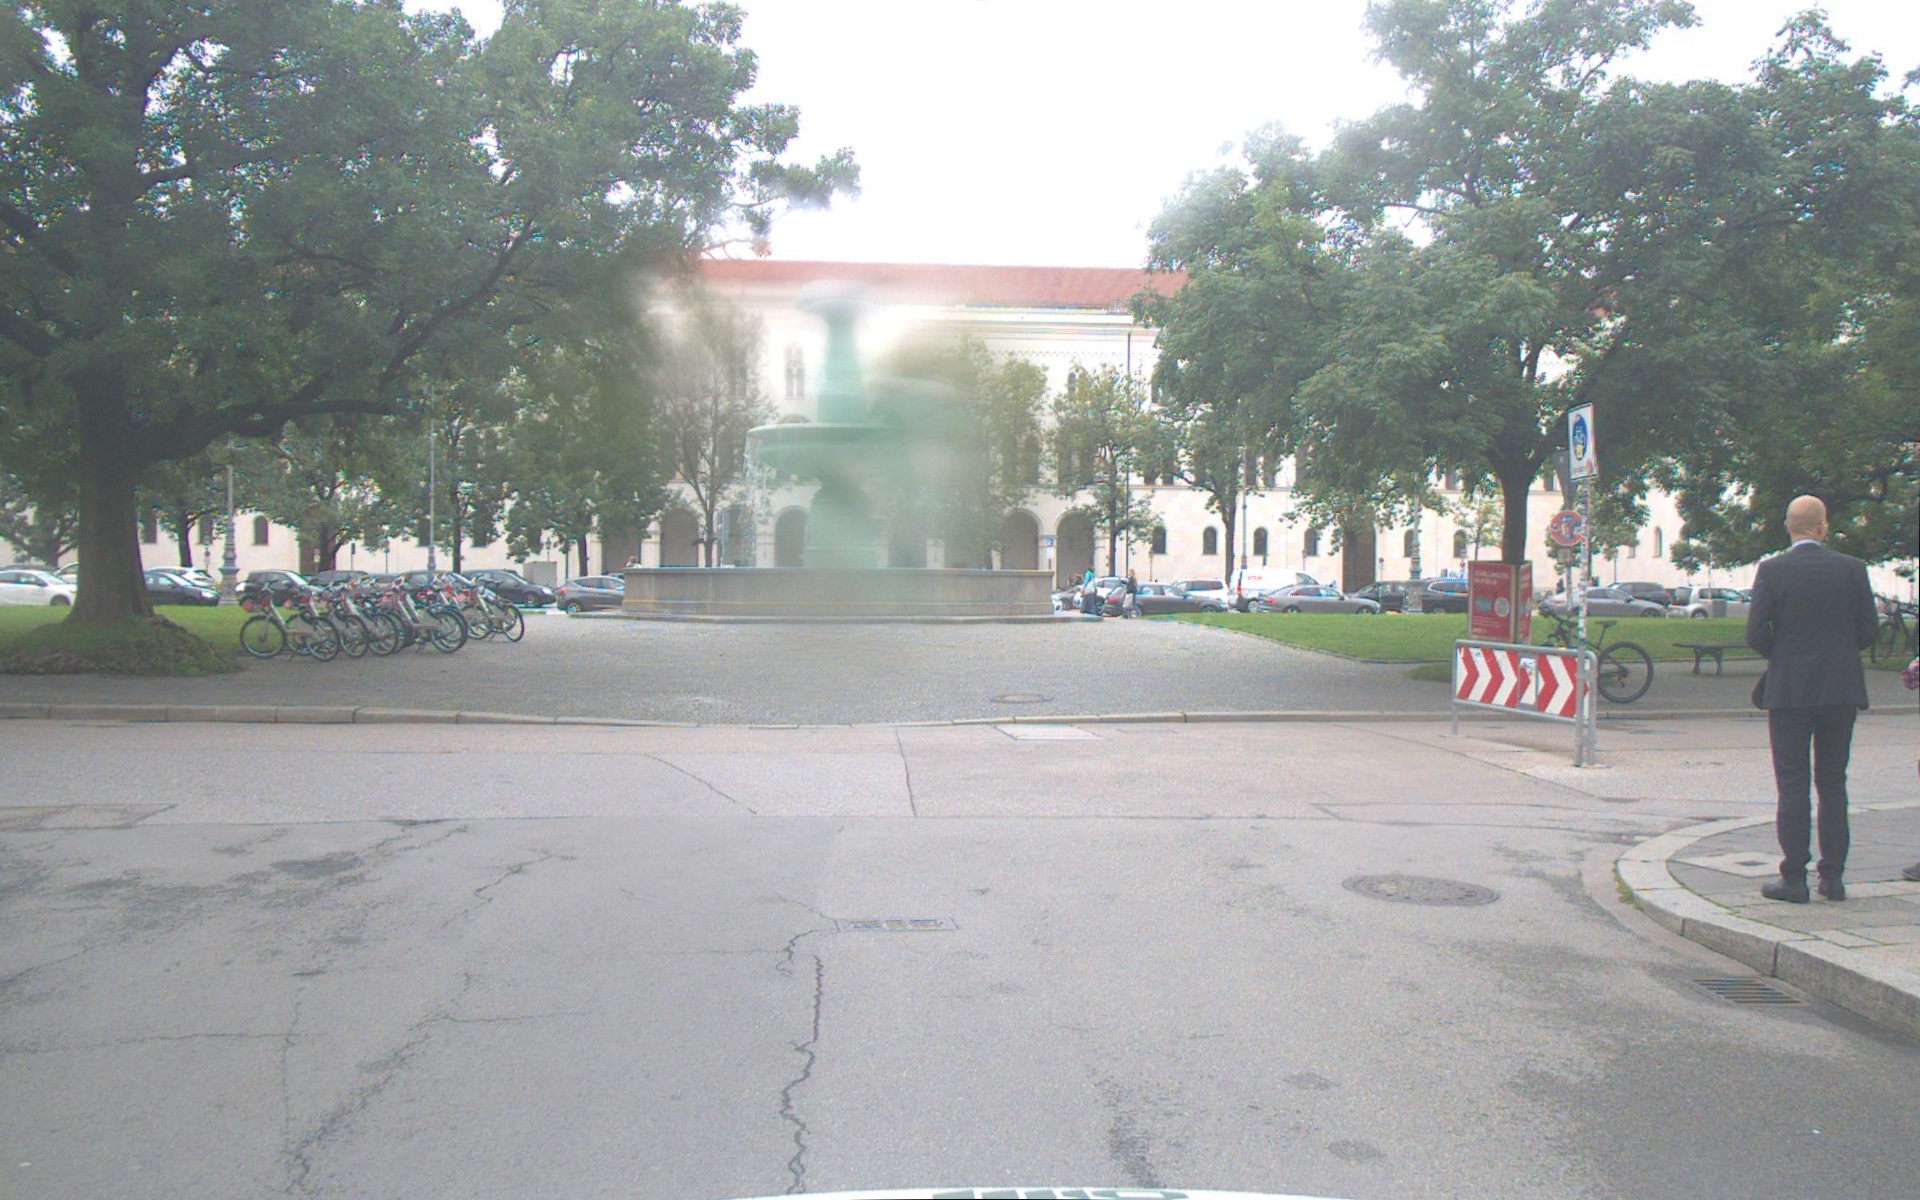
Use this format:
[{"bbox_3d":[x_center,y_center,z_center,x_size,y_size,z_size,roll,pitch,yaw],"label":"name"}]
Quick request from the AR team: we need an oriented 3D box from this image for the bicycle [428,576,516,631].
[{"bbox_3d":[-9.578,0.057,32.480,1.503,1.037,0.699,1,1,7],"label":"bicycle"}]

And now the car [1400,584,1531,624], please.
[{"bbox_3d":[18.679,0.140,61.228,4.270,1.443,1.803,0,1,-3],"label":"car"}]

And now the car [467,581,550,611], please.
[{"bbox_3d":[-21.462,-0.182,78.667,3.601,1.400,1.601,0,1,-7],"label":"car"}]

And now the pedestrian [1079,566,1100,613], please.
[{"bbox_3d":[4.168,-0.338,53.236,0.570,1.491,0.548,1,1,19],"label":"pedestrian"}]

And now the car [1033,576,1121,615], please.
[{"bbox_3d":[5.551,-0.215,78.868,3.909,1.780,1.807,1,1,-5],"label":"car"}]

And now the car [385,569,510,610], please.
[{"bbox_3d":[-18.133,-0.391,58.677,3.909,1.400,1.998,0,1,-5],"label":"car"}]

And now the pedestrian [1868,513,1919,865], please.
[{"bbox_3d":[4.974,0.437,8.168,0.609,1.711,0.544,2,0,-10],"label":"pedestrian"}]

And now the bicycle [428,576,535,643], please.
[{"bbox_3d":[-8.448,0.158,29.232,1.673,1.118,0.699,1,1,7],"label":"bicycle"}]

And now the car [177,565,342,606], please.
[{"bbox_3d":[-24.745,-0.514,58.562,4.974,1.400,1.998,0,1,-6],"label":"car"}]

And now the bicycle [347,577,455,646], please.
[{"bbox_3d":[-9.525,0.190,28.208,1.584,1.118,0.699,1,1,7],"label":"bicycle"}]

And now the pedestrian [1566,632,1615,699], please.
[{"bbox_3d":[7.617,0.781,20.000,0.406,0.776,0.460,1,1,1],"label":"pedestrian"}]

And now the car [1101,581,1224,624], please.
[{"bbox_3d":[7.394,0.083,60.712,4.270,1.551,1.803,0,1,-3],"label":"car"}]

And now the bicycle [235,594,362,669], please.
[{"bbox_3d":[-9.741,0.454,24.385,1.584,1.053,0.699,1,1,7],"label":"bicycle"}]

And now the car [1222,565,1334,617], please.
[{"bbox_3d":[13.174,-0.398,68.653,4.238,2.048,1.824,1,1,-1],"label":"car"}]

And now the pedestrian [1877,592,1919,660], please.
[{"bbox_3d":[15.286,0.416,26.786,0.519,1.084,0.618,1,1,1],"label":"pedestrian"}]

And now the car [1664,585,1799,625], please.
[{"bbox_3d":[29.047,0.188,62.319,4.270,1.443,1.803,0,1,-3],"label":"car"}]

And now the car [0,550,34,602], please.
[{"bbox_3d":[-39.329,-0.957,65.209,4.449,2.048,1.998,0,1,-6],"label":"car"}]

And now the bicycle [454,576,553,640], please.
[{"bbox_3d":[-8.244,0.136,29.902,1.584,1.118,0.617,1,1,7],"label":"bicycle"}]

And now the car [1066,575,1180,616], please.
[{"bbox_3d":[6.388,-0.177,65.216,4.270,1.551,1.803,0,1,-3],"label":"car"}]

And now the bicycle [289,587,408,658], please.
[{"bbox_3d":[-9.548,0.340,25.860,1.584,1.053,0.699,1,1,7],"label":"bicycle"}]

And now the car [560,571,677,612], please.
[{"bbox_3d":[-12.200,-0.316,59.301,3.909,1.400,1.998,0,1,-5],"label":"car"}]

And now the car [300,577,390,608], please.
[{"bbox_3d":[-28.348,-0.349,76.291,3.600,1.400,1.601,0,1,-6],"label":"car"}]

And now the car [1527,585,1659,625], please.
[{"bbox_3d":[23.664,0.183,61.894,4.270,1.443,1.803,0,1,-3],"label":"car"}]

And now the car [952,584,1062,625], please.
[{"bbox_3d":[1.687,0.147,60.378,3.906,1.427,1.824,0,1,-2],"label":"car"}]

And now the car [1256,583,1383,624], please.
[{"bbox_3d":[13.267,0.128,61.178,4.270,1.443,1.803,0,1,-3],"label":"car"}]

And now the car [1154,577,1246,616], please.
[{"bbox_3d":[11.477,-0.188,79.142,4.019,1.771,1.744,1,1,-7],"label":"car"}]

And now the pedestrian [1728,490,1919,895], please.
[{"bbox_3d":[4.050,0.418,7.789,0.628,1.839,0.489,0,1,2],"label":"pedestrian"}]

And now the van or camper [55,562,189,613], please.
[{"bbox_3d":[-34.670,-0.526,68.544,4.492,2.048,1.997,0,1,-7],"label":"van or camper"}]

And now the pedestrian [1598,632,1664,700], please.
[{"bbox_3d":[8.121,0.791,20.021,0.557,0.776,0.567,1,1,1],"label":"pedestrian"}]

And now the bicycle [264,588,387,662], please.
[{"bbox_3d":[-9.631,0.369,25.127,1.584,1.053,0.699,1,1,7],"label":"bicycle"}]

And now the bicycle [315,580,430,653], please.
[{"bbox_3d":[-9.441,0.261,26.599,1.584,1.118,0.699,1,1,7],"label":"bicycle"}]

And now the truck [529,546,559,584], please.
[{"bbox_3d":[-28.410,-2.388,112.822,1.960,2.532,3.985,0,1,-15],"label":"truck"}]

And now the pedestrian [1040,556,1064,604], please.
[{"bbox_3d":[4.003,-0.876,71.849,0.890,2.048,0.685,1,1,-12],"label":"pedestrian"}]

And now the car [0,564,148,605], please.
[{"bbox_3d":[-31.397,-0.541,57.940,4.871,1.400,1.998,0,1,-6],"label":"car"}]

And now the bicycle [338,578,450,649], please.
[{"bbox_3d":[-9.356,0.215,27.351,1.584,1.118,0.699,1,1,7],"label":"bicycle"}]

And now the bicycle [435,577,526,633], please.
[{"bbox_3d":[-9.177,0.090,31.683,1.503,1.037,0.699,1,1,7],"label":"bicycle"}]

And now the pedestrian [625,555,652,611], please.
[{"bbox_3d":[-9.714,-0.510,49.982,0.736,1.668,0.710,0,1,-4],"label":"pedestrian"}]

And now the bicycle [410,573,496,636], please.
[{"bbox_3d":[-9.439,0.078,30.808,1.371,1.118,0.657,1,1,7],"label":"bicycle"}]

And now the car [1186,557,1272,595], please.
[{"bbox_3d":[13.556,-1.201,83.467,3.910,1.815,1.929,1,1,-6],"label":"car"}]

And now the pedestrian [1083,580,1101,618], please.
[{"bbox_3d":[4.324,-0.047,54.085,0.434,1.235,0.535,1,1,22],"label":"pedestrian"}]
